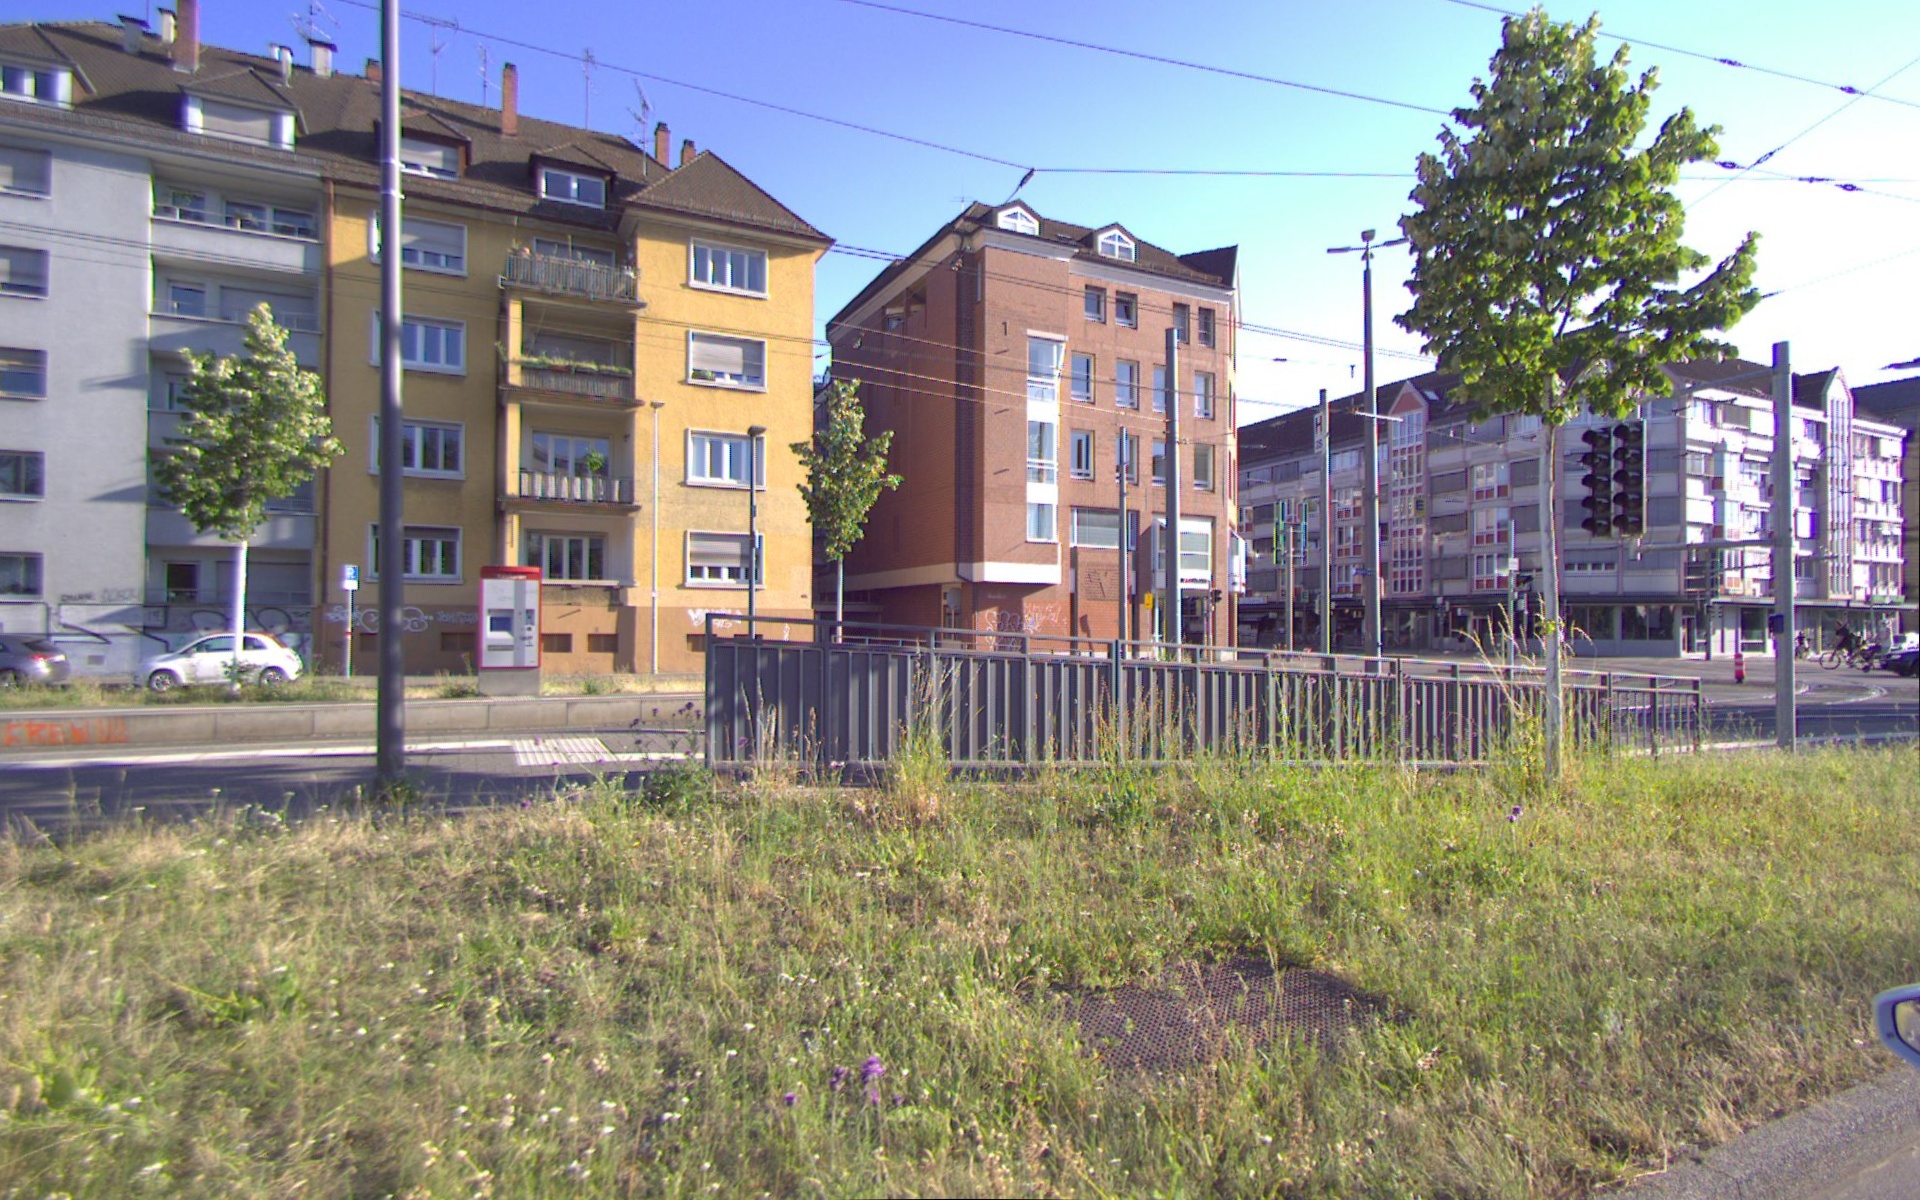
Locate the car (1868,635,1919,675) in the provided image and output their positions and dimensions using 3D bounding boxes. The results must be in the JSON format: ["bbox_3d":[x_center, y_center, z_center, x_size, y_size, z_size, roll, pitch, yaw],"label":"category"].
[{"bbox_3d":[32.900,1.810,33.186,3.926,1.305,1.845,-1,-2,27],"label":"car"}]

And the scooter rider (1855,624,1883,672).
[{"bbox_3d":[33.749,1.778,37.304,0.521,1.734,0.659,1,-2,-36],"label":"scooter rider"}]

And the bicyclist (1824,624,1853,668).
[{"bbox_3d":[35.040,1.816,40.076,0.652,1.734,0.539,0,-2,7],"label":"bicyclist"}]

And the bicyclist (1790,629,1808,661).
[{"bbox_3d":[49.862,2.678,59.718,0.633,1.886,0.591,1,-2,-26],"label":"bicyclist"}]

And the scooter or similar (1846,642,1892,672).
[{"bbox_3d":[33.746,2.105,37.304,0.525,1.086,1.163,1,-2,-36],"label":"scooter or similar"}]

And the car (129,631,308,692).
[{"bbox_3d":[-19.312,1.574,26.356,3.508,1.505,1.740,1,-2,-28],"label":"car"}]

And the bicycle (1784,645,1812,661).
[{"bbox_3d":[49.778,3.160,59.670,1.811,0.927,0.596,1,-2,-26],"label":"bicycle"}]

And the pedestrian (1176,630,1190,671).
[{"bbox_3d":[10.188,2.303,45.934,0.532,1.831,0.502,0,-1,1],"label":"pedestrian"}]

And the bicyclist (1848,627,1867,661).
[{"bbox_3d":[55.293,2.705,61.871,0.768,2.040,0.601,1,-1,-24],"label":"bicyclist"}]

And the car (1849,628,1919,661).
[{"bbox_3d":[54.695,2.632,59.240,3.946,1.884,1.988,1,-2,-25],"label":"car"}]

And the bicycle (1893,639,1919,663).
[{"bbox_3d":[43.875,2.347,45.901,0.534,1.073,1.720,1,-2,-36],"label":"bicycle"}]

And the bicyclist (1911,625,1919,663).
[{"bbox_3d":[43.932,2.006,45.828,0.533,1.734,0.659,1,-2,-36],"label":"bicyclist"}]

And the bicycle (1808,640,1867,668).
[{"bbox_3d":[34.998,2.146,40.072,1.745,1.086,0.535,0,-2,6],"label":"bicycle"}]

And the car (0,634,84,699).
[{"bbox_3d":[-24.051,1.570,23.942,4.375,1.528,1.986,1,-2,-28],"label":"car"}]

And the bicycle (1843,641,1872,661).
[{"bbox_3d":[55.280,3.124,61.874,1.940,1.216,0.606,1,-1,-24],"label":"bicycle"}]
